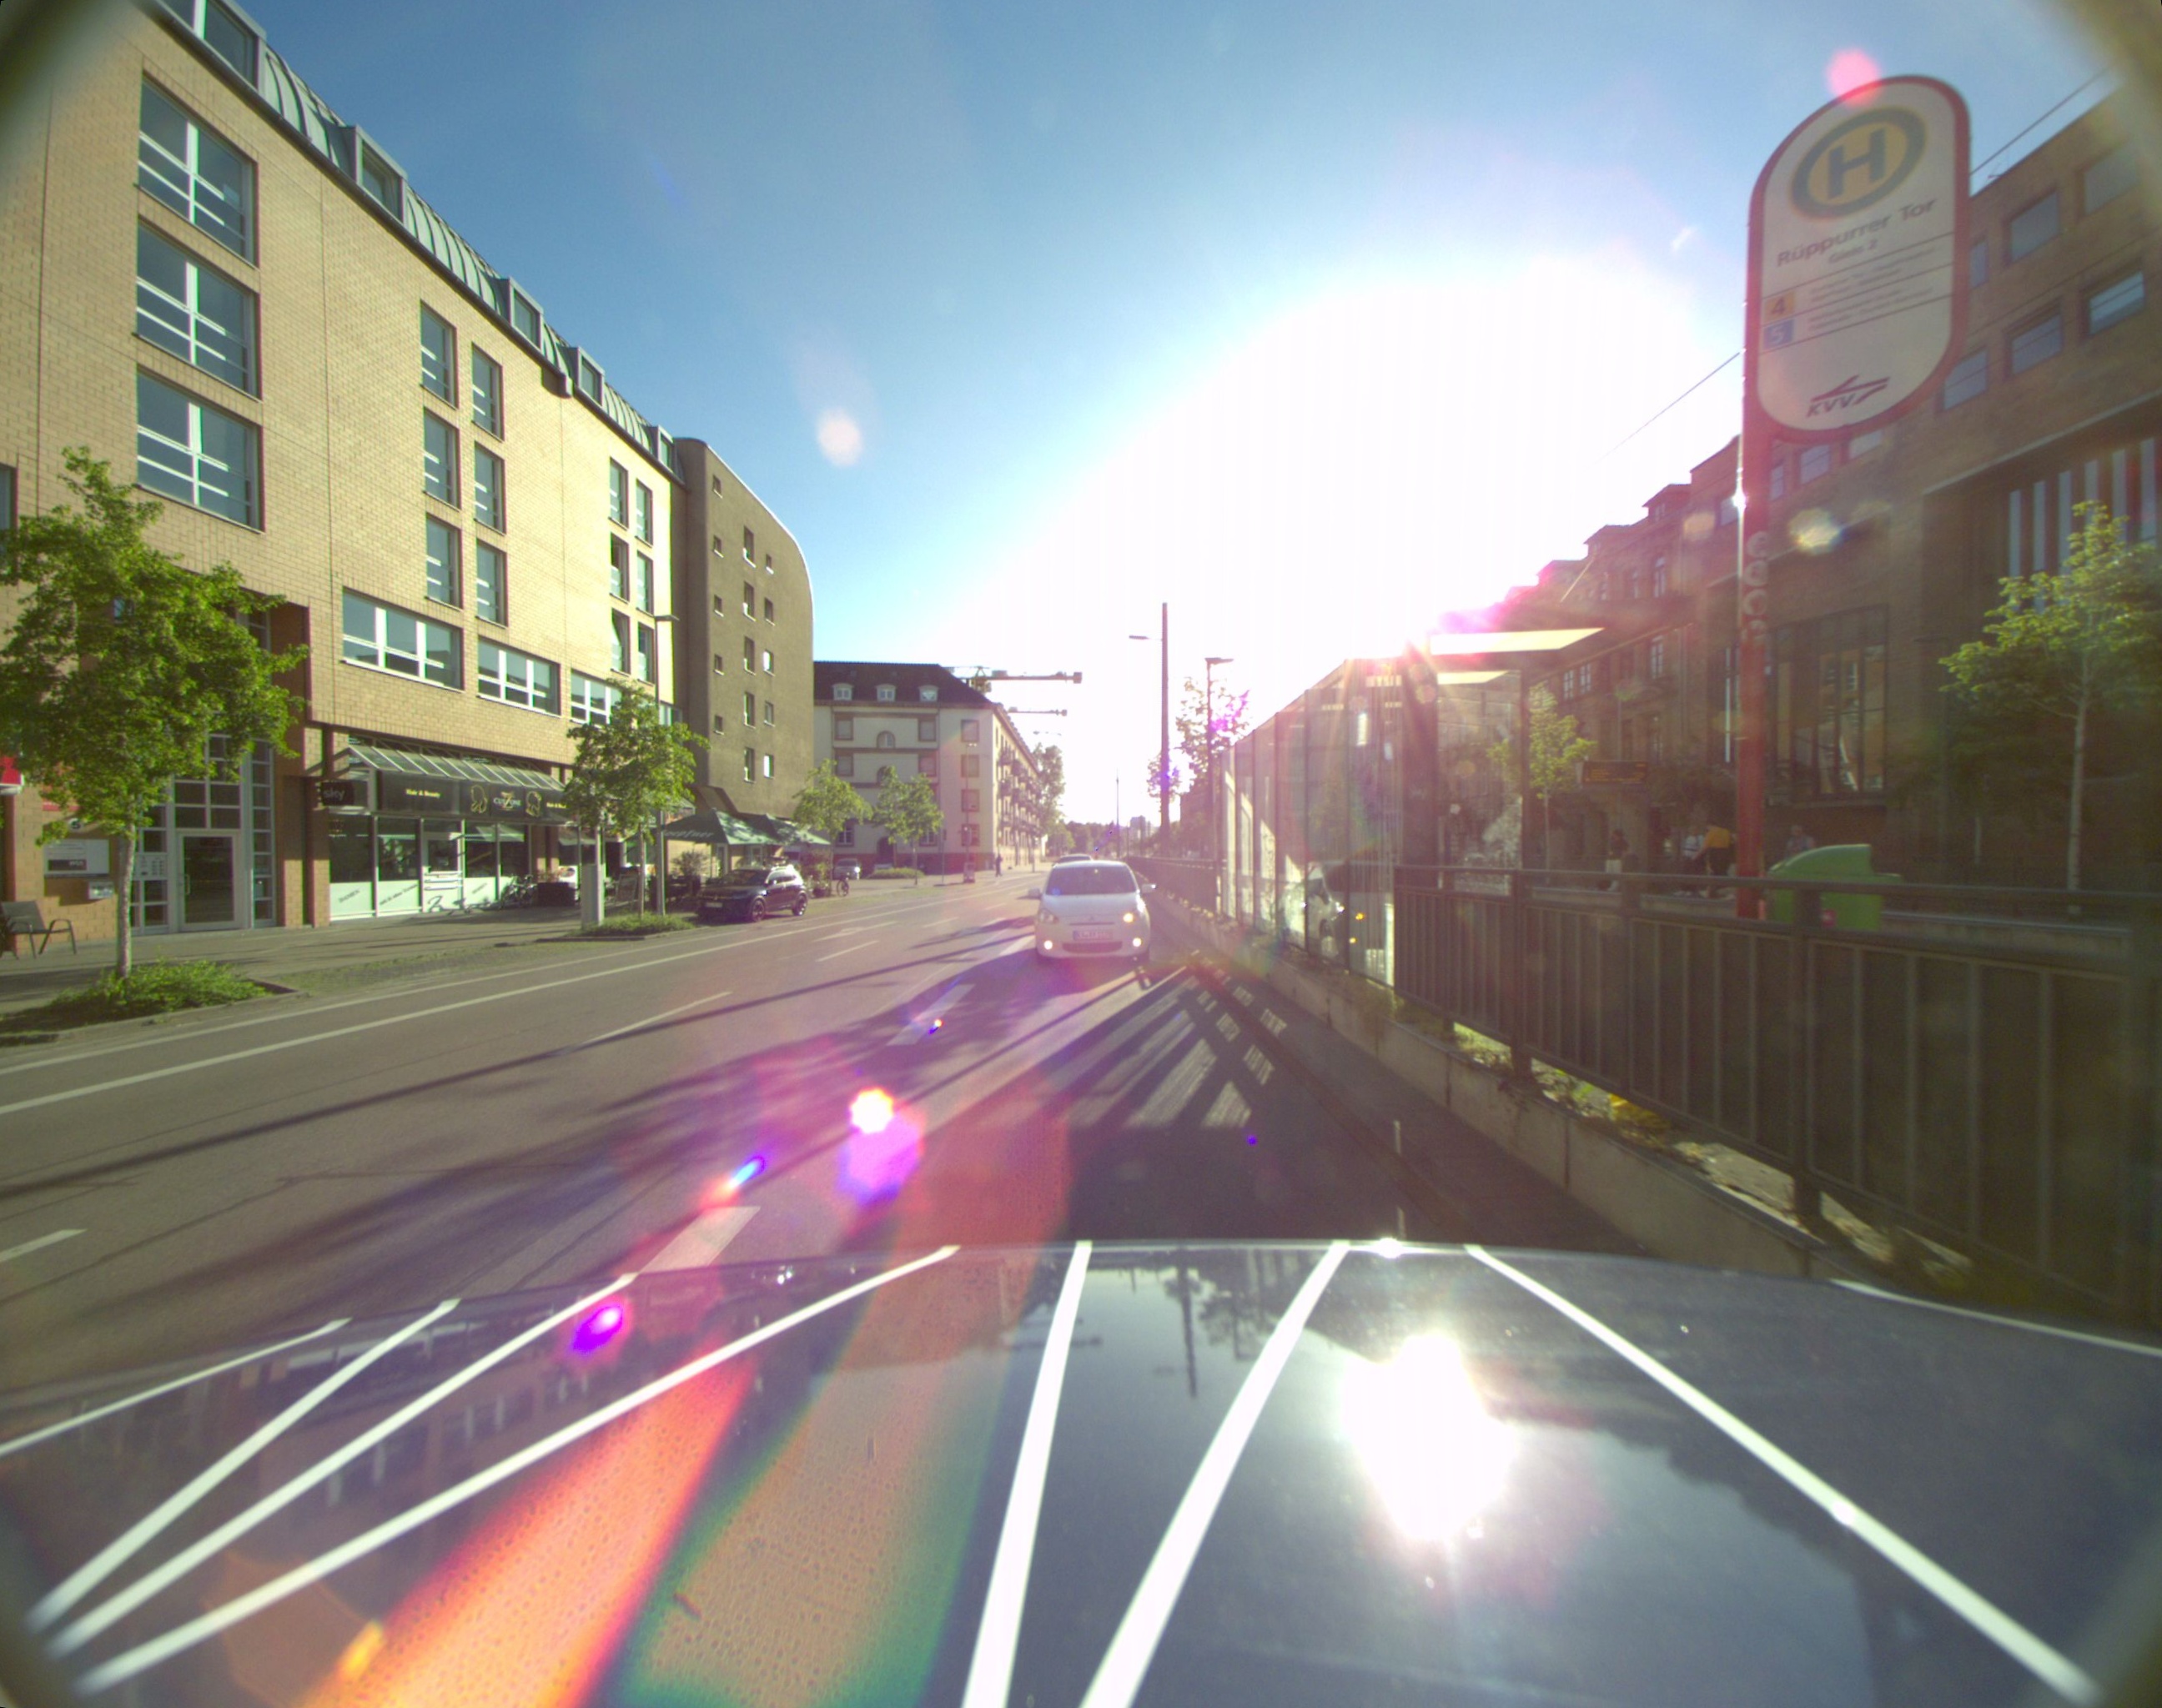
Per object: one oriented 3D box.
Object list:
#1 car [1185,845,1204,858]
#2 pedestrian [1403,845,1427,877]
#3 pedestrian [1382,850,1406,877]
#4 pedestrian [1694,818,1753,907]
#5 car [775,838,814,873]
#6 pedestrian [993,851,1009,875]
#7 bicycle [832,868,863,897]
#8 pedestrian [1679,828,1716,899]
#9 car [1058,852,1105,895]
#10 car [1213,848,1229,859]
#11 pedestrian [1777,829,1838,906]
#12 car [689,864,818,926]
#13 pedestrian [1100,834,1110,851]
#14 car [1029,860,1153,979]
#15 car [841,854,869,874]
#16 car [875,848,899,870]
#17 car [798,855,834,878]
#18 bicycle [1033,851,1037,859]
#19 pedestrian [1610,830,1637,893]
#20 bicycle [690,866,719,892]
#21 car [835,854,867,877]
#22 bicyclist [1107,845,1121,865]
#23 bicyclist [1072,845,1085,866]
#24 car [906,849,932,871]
[{"bbox_3d":[17.621,-0.362,118.473,1.999,1.869,4.582,-4,0,-2],"label":"car"},{"bbox_3d":[13.773,0.289,31.345,0.647,1.301,0.721,1,1,1],"label":"pedestrian"},{"bbox_3d":[13.757,0.408,33.387,0.723,1.161,0.721,1,1,1],"label":"pedestrian"},{"bbox_3d":[12.602,0.164,14.917,0.642,1.686,0.541,-3,1,1],"label":"pedestrian"},{"bbox_3d":[-23.537,0.072,62.581,1.929,2.595,5.954,-1,3,-10],"label":"car"},{"bbox_3d":[-6.065,0.651,57.695,0.885,1.754,1.106,1,2,10],"label":"pedestrian"},{"bbox_3d":[-10.216,1.222,33.333,0.767,1.075,1.997,4,2,-3],"label":"bicycle"},{"bbox_3d":[14.246,0.213,17.565,0.379,1.612,0.553,-3,1,1],"label":"pedestrian"},{"bbox_3d":[0.047,0.802,33.842,1.899,1.730,4.000,-3,0,1],"label":"car"},{"bbox_3d":[23.040,-0.062,125.313,1.943,1.648,4.545,-3,0,2],"label":"car"},{"bbox_3d":[14.151,0.259,14.815,0.540,1.451,0.642,-3,1,1],"label":"pedestrian"},{"bbox_3d":[-9.920,1.165,23.393,1.724,1.627,4.233,0,1,7],"label":"car"},{"bbox_3d":[2.139,-1.003,66.907,0.791,1.449,0.946,0,1,-1],"label":"pedestrian"},{"bbox_3d":[0.162,0.908,12.462,1.634,1.499,4.350,-2,0,1],"label":"car"},{"bbox_3d":[-18.924,0.801,63.882,1.698,1.421,4.435,-3,2,-10],"label":"car"},{"bbox_3d":[-16.452,0.413,64.521,1.629,1.677,4.434,-1,2,-11],"label":"car"},{"bbox_3d":[-18.107,0.835,52.075,1.637,1.444,3.653,-3,0,-9],"label":"car"},{"bbox_3d":[-6.795,0.157,112.716,0.419,1.089,2.198,0,1,1],"label":"bicycle"},{"bbox_3d":[14.349,0.186,20.104,0.379,1.639,0.416,-3,1,1],"label":"pedestrian"},{"bbox_3d":[-17.198,1.132,34.763,0.615,1.162,1.536,1,0,-2],"label":"bicycle"},{"bbox_3d":[-15.866,0.796,52.507,1.668,1.466,3.833,-3,0,-11],"label":"car"},{"bbox_3d":[2.969,0.084,68.332,0.886,1.763,0.854,-1,1,-26],"label":"bicyclist"},{"bbox_3d":[-0.221,0.121,66.288,0.935,1.753,0.737,0,1,42],"label":"bicyclist"},{"bbox_3d":[-13.753,0.497,64.674,1.697,1.676,4.437,-3,0,-7],"label":"car"}]
